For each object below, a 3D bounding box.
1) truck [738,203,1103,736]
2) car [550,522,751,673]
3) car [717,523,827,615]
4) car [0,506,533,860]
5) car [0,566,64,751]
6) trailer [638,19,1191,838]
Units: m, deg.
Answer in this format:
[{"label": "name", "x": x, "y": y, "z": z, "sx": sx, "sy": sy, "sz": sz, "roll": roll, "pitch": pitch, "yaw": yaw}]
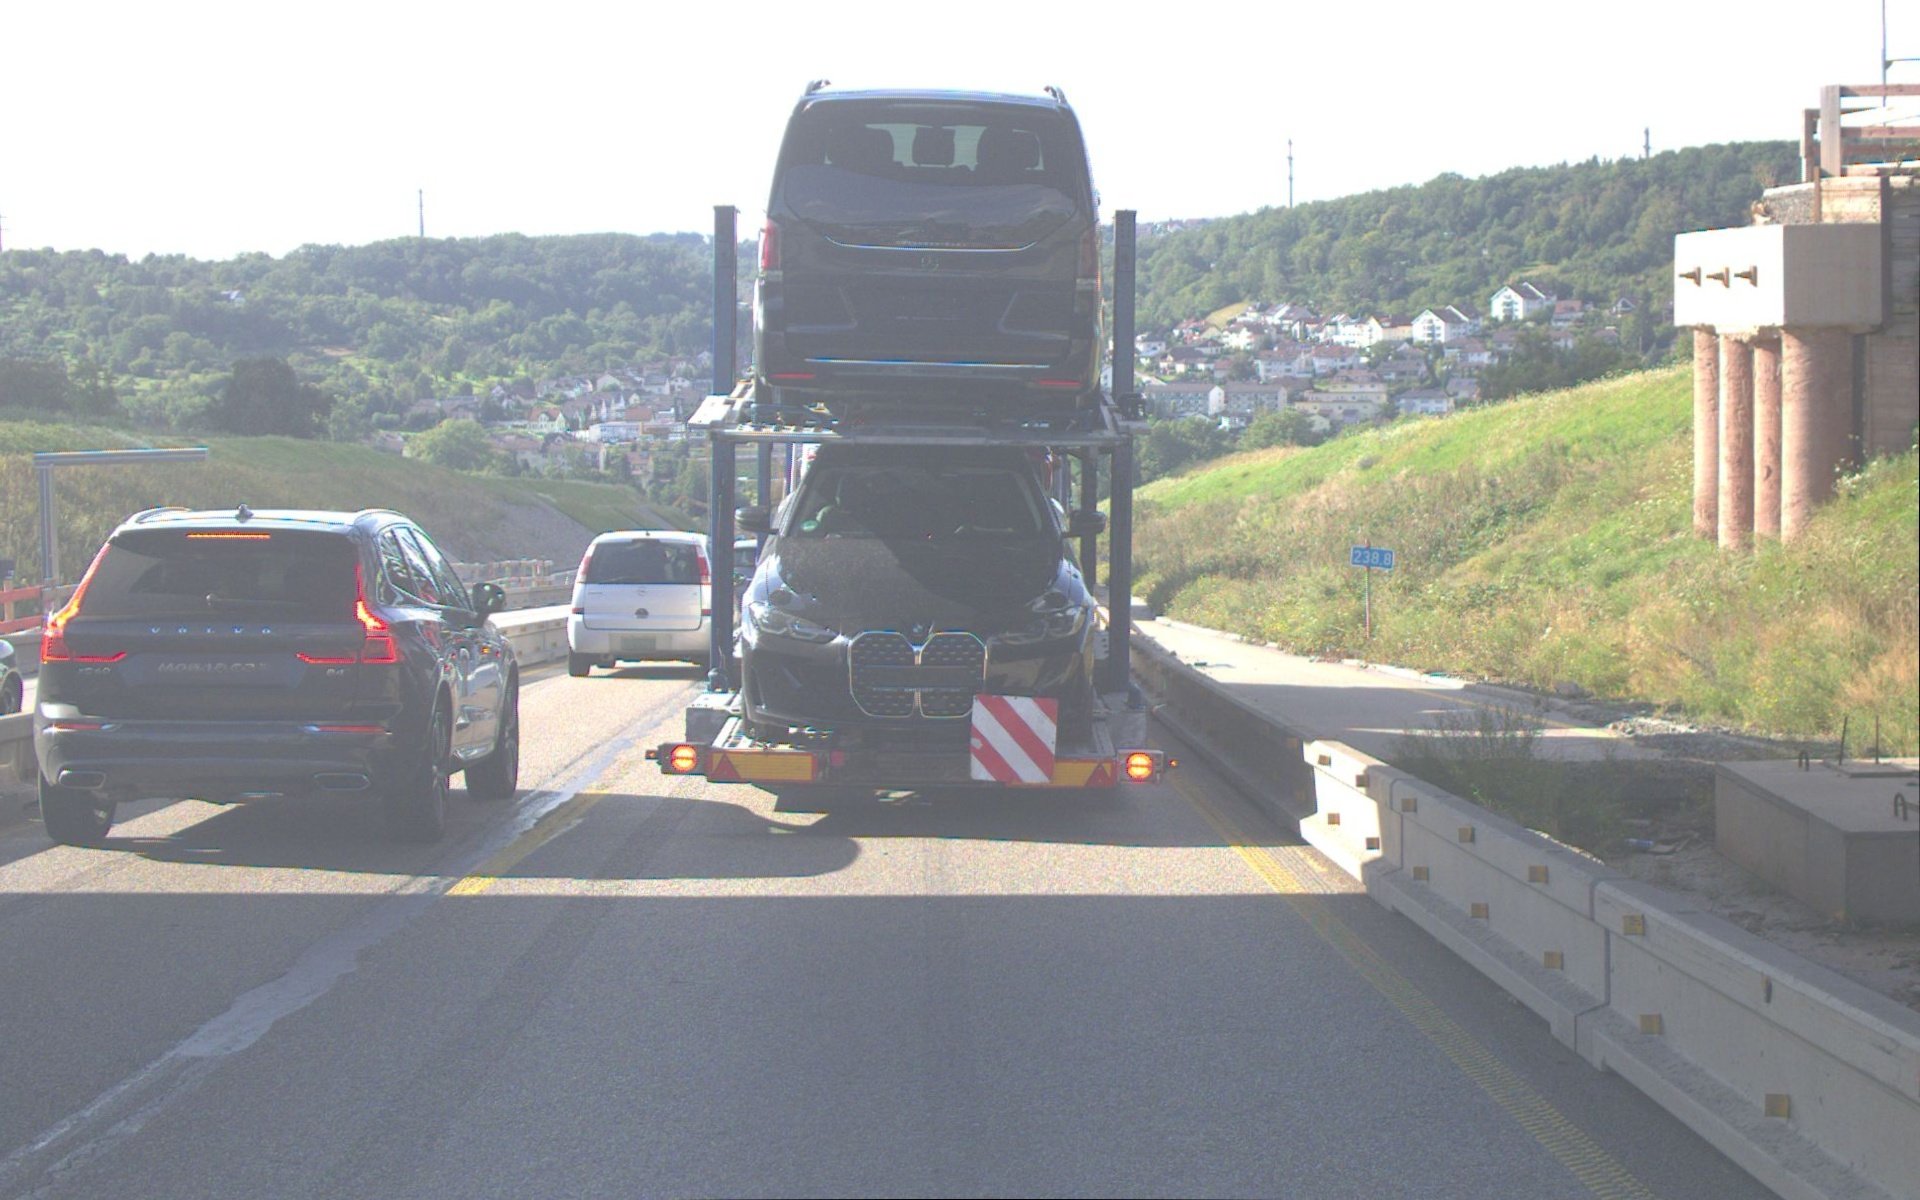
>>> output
[{"label": "truck", "x": -0.259, "y": -1.009, "z": 28.290, "sx": 2.678, "sy": 3.908, "sz": 6.027, "roll": 0, "pitch": 1, "yaw": 1}, {"label": "car", "x": -3.417, "y": -0.079, "z": 38.691, "sx": 1.796, "sy": 1.591, "sz": 4.743, "roll": 0, "pitch": 1, "yaw": 0}, {"label": "car", "x": -3.209, "y": -0.564, "z": 59.336, "sx": 1.796, "sy": 1.525, "sz": 4.296, "roll": 0, "pitch": 1, "yaw": -2}, {"label": "car", "x": -3.488, "y": 0.324, "z": 18.078, "sx": 1.993, "sy": 1.619, "sz": 4.751, "roll": 0, "pitch": 1, "yaw": -1}, {"label": "car", "x": -6.959, "y": 0.437, "z": 21.387, "sx": 1.668, "sy": 1.151, "sz": 4.218, "roll": -3, "pitch": 2, "yaw": -1}, {"label": "trailer", "x": -0.240, "y": -0.940, "z": 22.607, "sx": 2.708, "sy": 4.015, "sz": 11.420, "roll": 0, "pitch": 1, "yaw": 0}]
